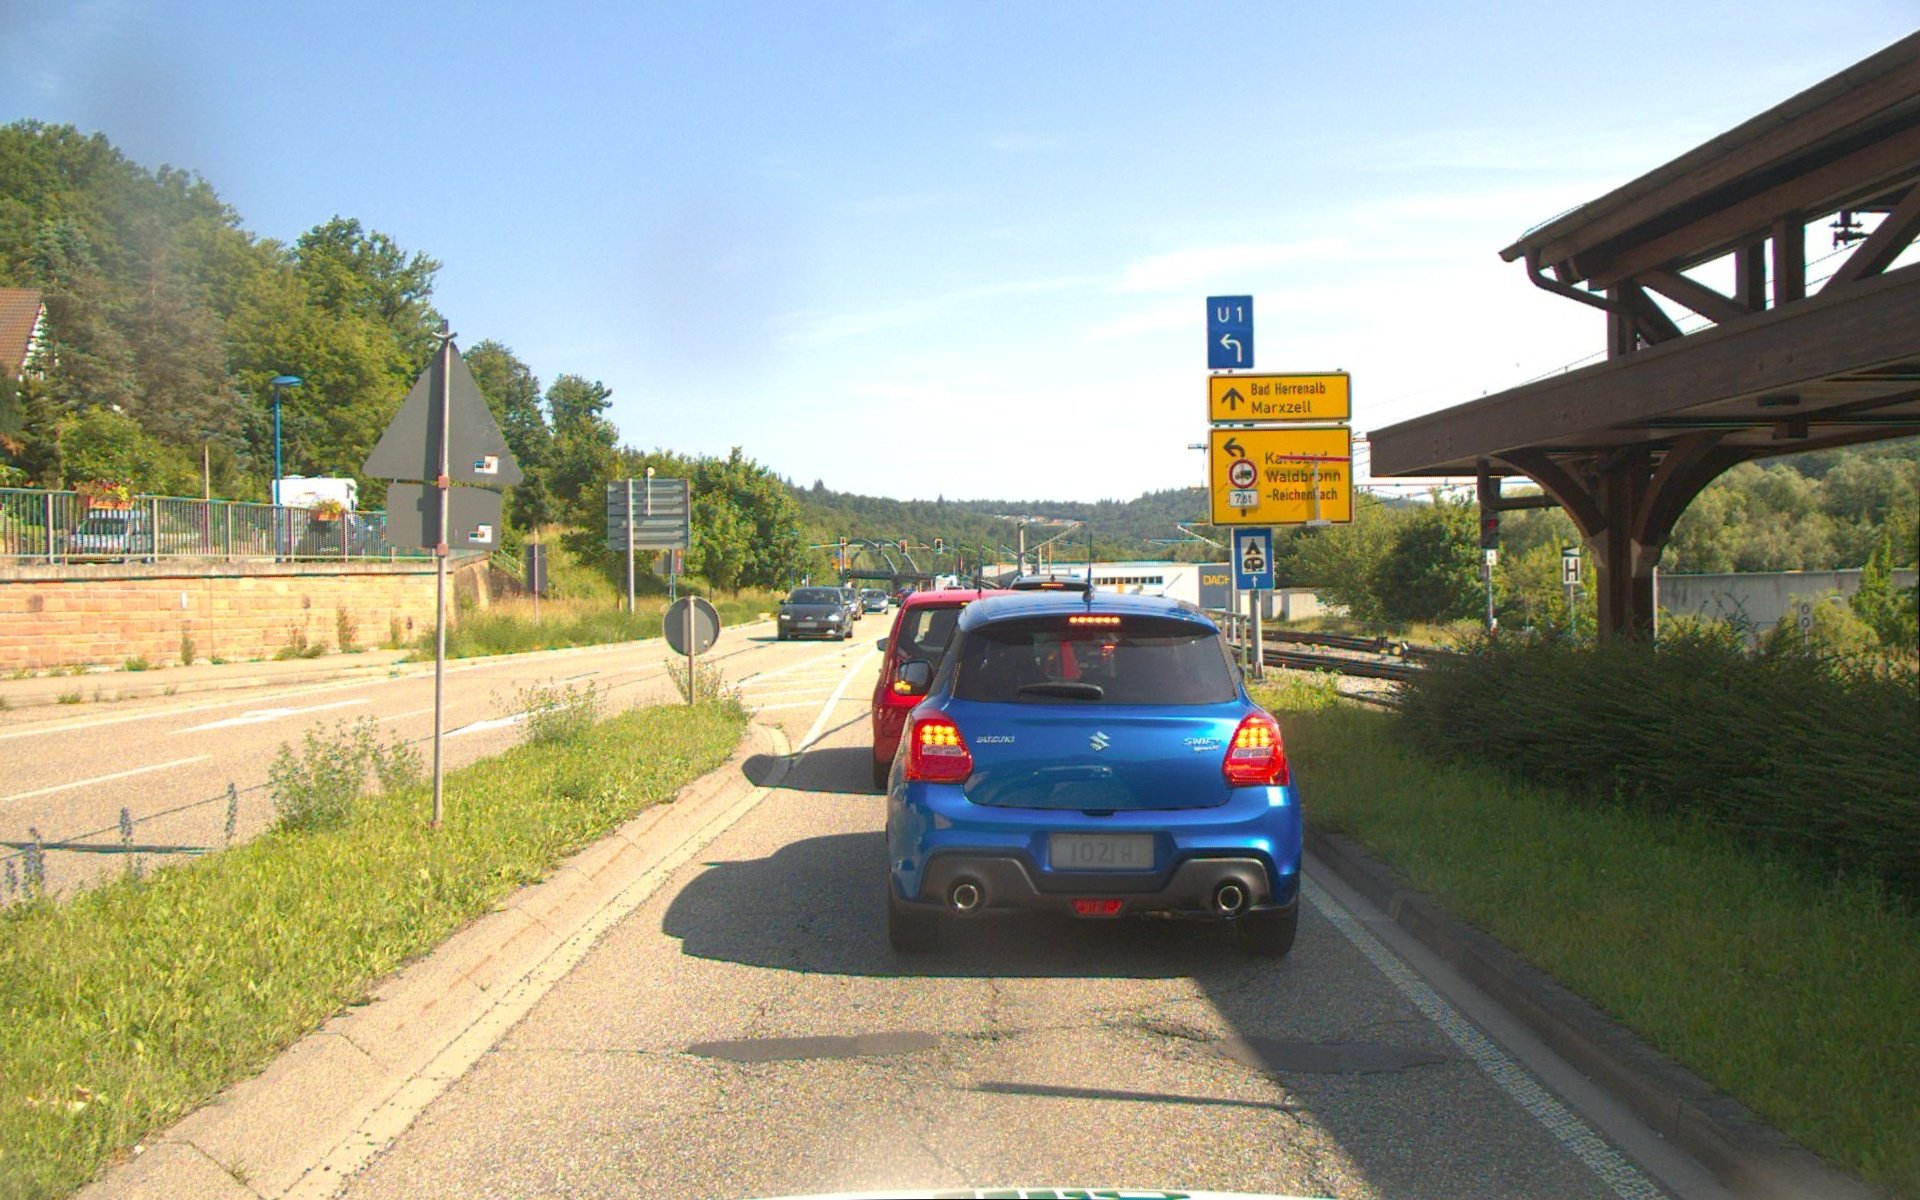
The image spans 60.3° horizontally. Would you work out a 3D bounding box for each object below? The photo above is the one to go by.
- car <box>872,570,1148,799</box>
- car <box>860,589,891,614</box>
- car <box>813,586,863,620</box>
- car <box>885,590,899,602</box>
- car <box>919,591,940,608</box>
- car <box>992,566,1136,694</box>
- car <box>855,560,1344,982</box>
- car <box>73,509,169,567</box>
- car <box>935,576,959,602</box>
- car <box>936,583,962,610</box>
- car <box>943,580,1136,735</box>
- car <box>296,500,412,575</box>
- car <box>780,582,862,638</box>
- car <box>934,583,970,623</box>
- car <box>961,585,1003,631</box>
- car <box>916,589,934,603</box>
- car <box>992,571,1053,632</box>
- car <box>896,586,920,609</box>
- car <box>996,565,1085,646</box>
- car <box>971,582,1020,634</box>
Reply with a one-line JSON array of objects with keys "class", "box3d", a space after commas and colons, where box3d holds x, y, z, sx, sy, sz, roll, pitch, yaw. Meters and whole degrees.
[{"class": "car", "box3d": [0.401, 0.602, 13.893, 1.952, 1.598, 4.001, 1, 0, 1]}, {"class": "car", "box3d": [-5.216, 0.082, 102.555, 1.637, 1.466, 3.841, 1, 0, 1]}, {"class": "car", "box3d": [-5.856, 0.124, 80.026, 1.952, 1.591, 4.510, 0, 1, 2]}, {"class": "car", "box3d": [-10.099, -0.553, 246.075, 1.953, 1.693, 3.999, 1, 0, -1]}, {"class": "car", "box3d": [-2.964, -0.085, 161.704, 1.953, 1.581, 4.214, 1, 0, 0]}, {"class": "car", "box3d": [1.492, 0.396, 25.253, 1.952, 1.716, 4.498, 2, 1, 1]}, {"class": "car", "box3d": [0.493, 0.630, 8.223, 1.830, 1.575, 3.999, 0, 0, -1]}, {"class": "car", "box3d": [-25.406, -1.848, 50.216, 1.864, 1.658, 3.983, 0, 1, -16]}, {"class": "car", "box3d": [-1.115, -0.918, 140.550, 1.953, 2.181, 4.719, 1, 0, 0]}, {"class": "car", "box3d": [-0.840, -0.280, 126.096, 1.953, 1.848, 4.000, 2, 1, 0]}, {"class": "car", "box3d": [0.857, 0.564, 19.164, 1.952, 1.558, 4.602, 0, 1, 1]}, {"class": "car", "box3d": [-17.023, -1.746, 46.692, 1.982, 1.953, 4.725, 2, 1, -7]}, {"class": "car", "box3d": [-3.929, 0.249, 47.398, 1.754, 1.496, 4.718, 0, 0, 2]}, {"class": "car", "box3d": [-0.454, 0.141, 93.065, 1.953, 2.048, 4.000, 2, 1, 0]}, {"class": "car", "box3d": [1.052, 0.360, 81.206, 1.953, 2.048, 4.000, 2, 1, 0]}, {"class": "car", "box3d": [-4.043, -0.469, 190.978, 1.953, 1.619, 3.999, 1, 0, -1]}, {"class": "car", "box3d": [2.215, 0.020, 59.616, 1.953, 2.048, 4.000, 2, 1, 0]}, {"class": "car", "box3d": [-4.430, -0.218, 141.205, 1.953, 1.814, 4.000, 1, 0, 0]}, {"class": "car", "box3d": [1.846, 0.111, 39.225, 1.952, 1.766, 4.001, 2, 1, 1]}, {"class": "car", "box3d": [1.509, 0.312, 71.125, 1.953, 2.048, 4.000, 2, 1, 0]}]
